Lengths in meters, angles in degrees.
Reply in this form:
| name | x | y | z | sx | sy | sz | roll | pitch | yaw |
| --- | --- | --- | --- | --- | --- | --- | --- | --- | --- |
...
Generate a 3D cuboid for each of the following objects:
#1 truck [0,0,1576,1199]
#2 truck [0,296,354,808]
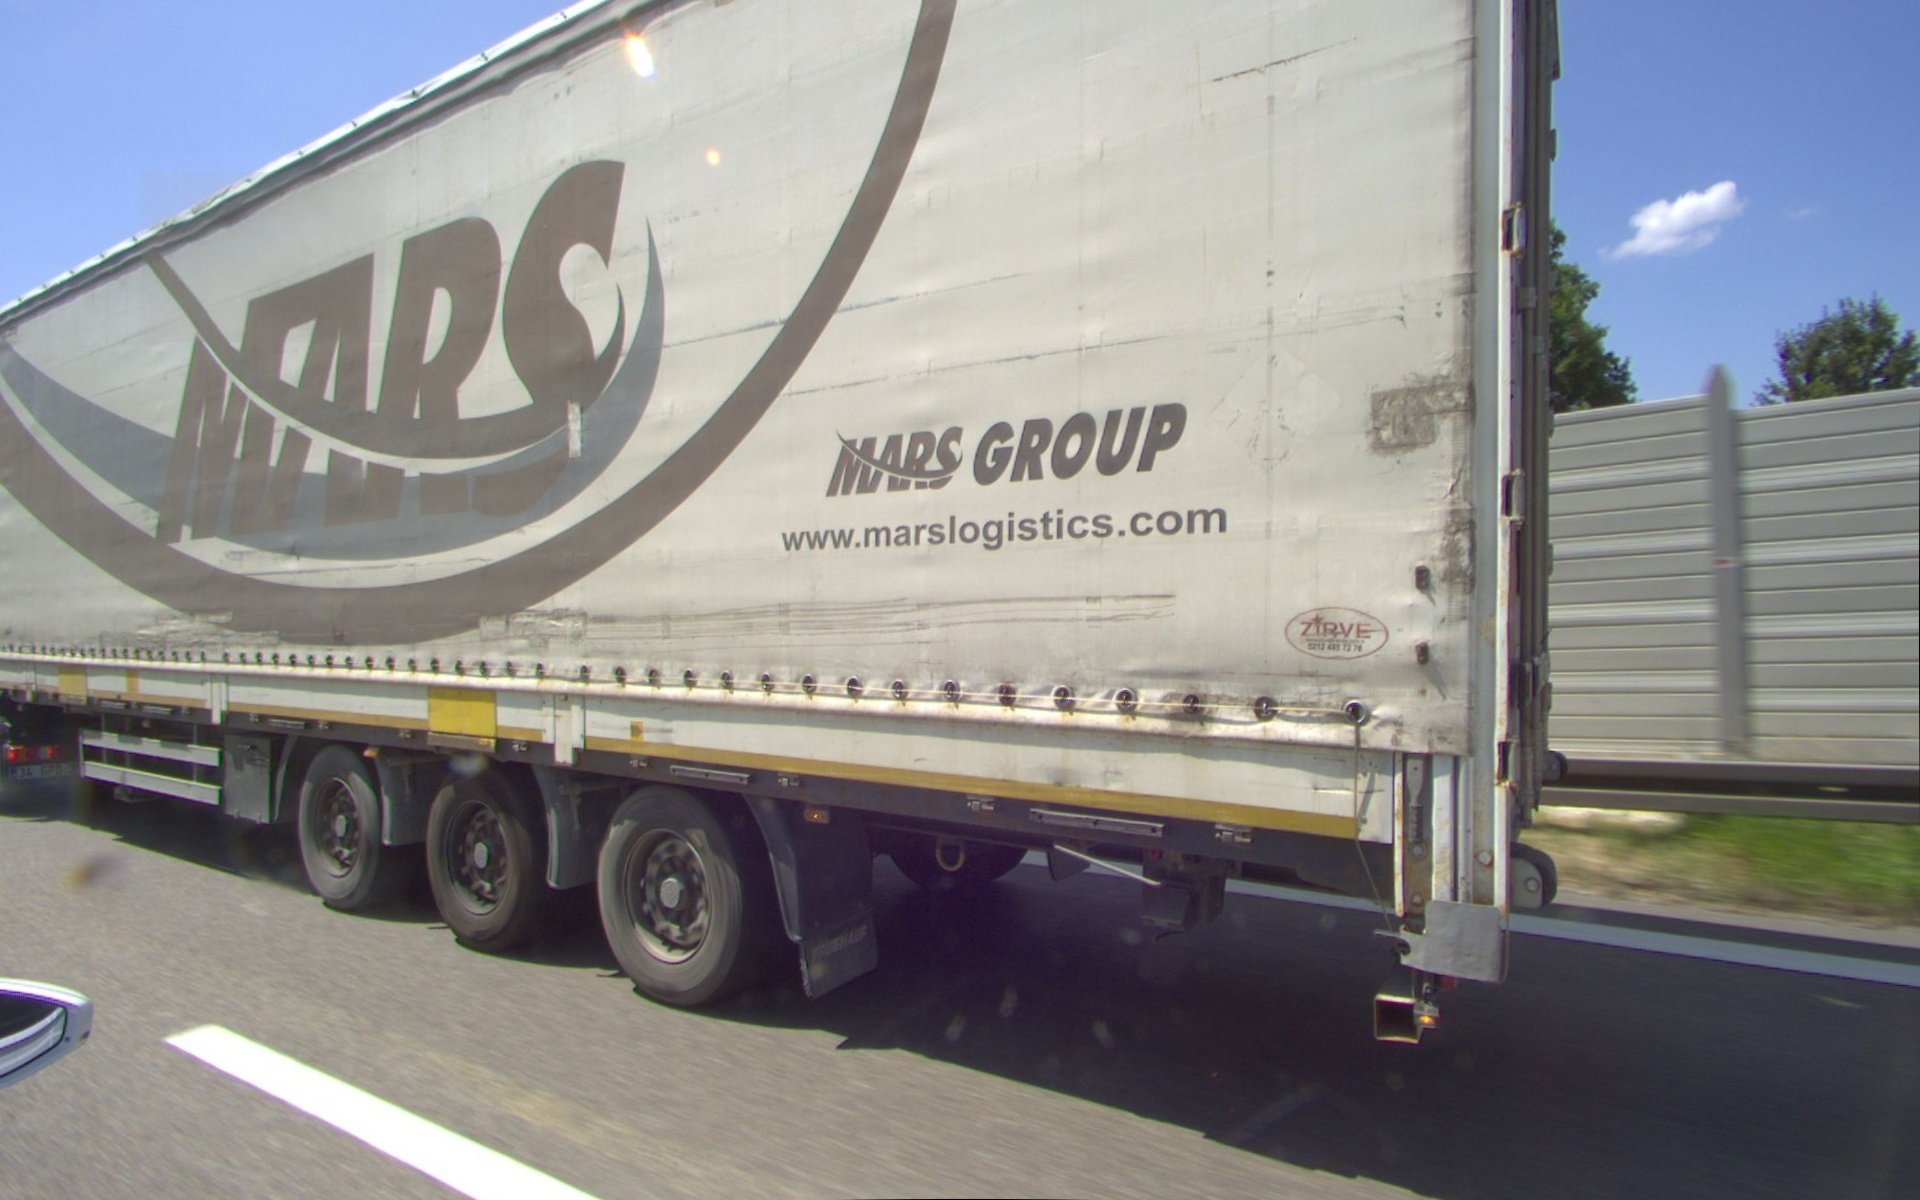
| name | x | y | z | sx | sy | sz | roll | pitch | yaw |
| --- | --- | --- | --- | --- | --- | --- | --- | --- | --- |
| truck | -3.691 | -0.499 | 7.036 | 13.551 | 4.119 | 2.720 | -2 | -2 | 33 |
| truck | -9.365 | -0.270 | 10.757 | 5.674 | 4.119 | 2.714 | -2 | -2 | 33 |
